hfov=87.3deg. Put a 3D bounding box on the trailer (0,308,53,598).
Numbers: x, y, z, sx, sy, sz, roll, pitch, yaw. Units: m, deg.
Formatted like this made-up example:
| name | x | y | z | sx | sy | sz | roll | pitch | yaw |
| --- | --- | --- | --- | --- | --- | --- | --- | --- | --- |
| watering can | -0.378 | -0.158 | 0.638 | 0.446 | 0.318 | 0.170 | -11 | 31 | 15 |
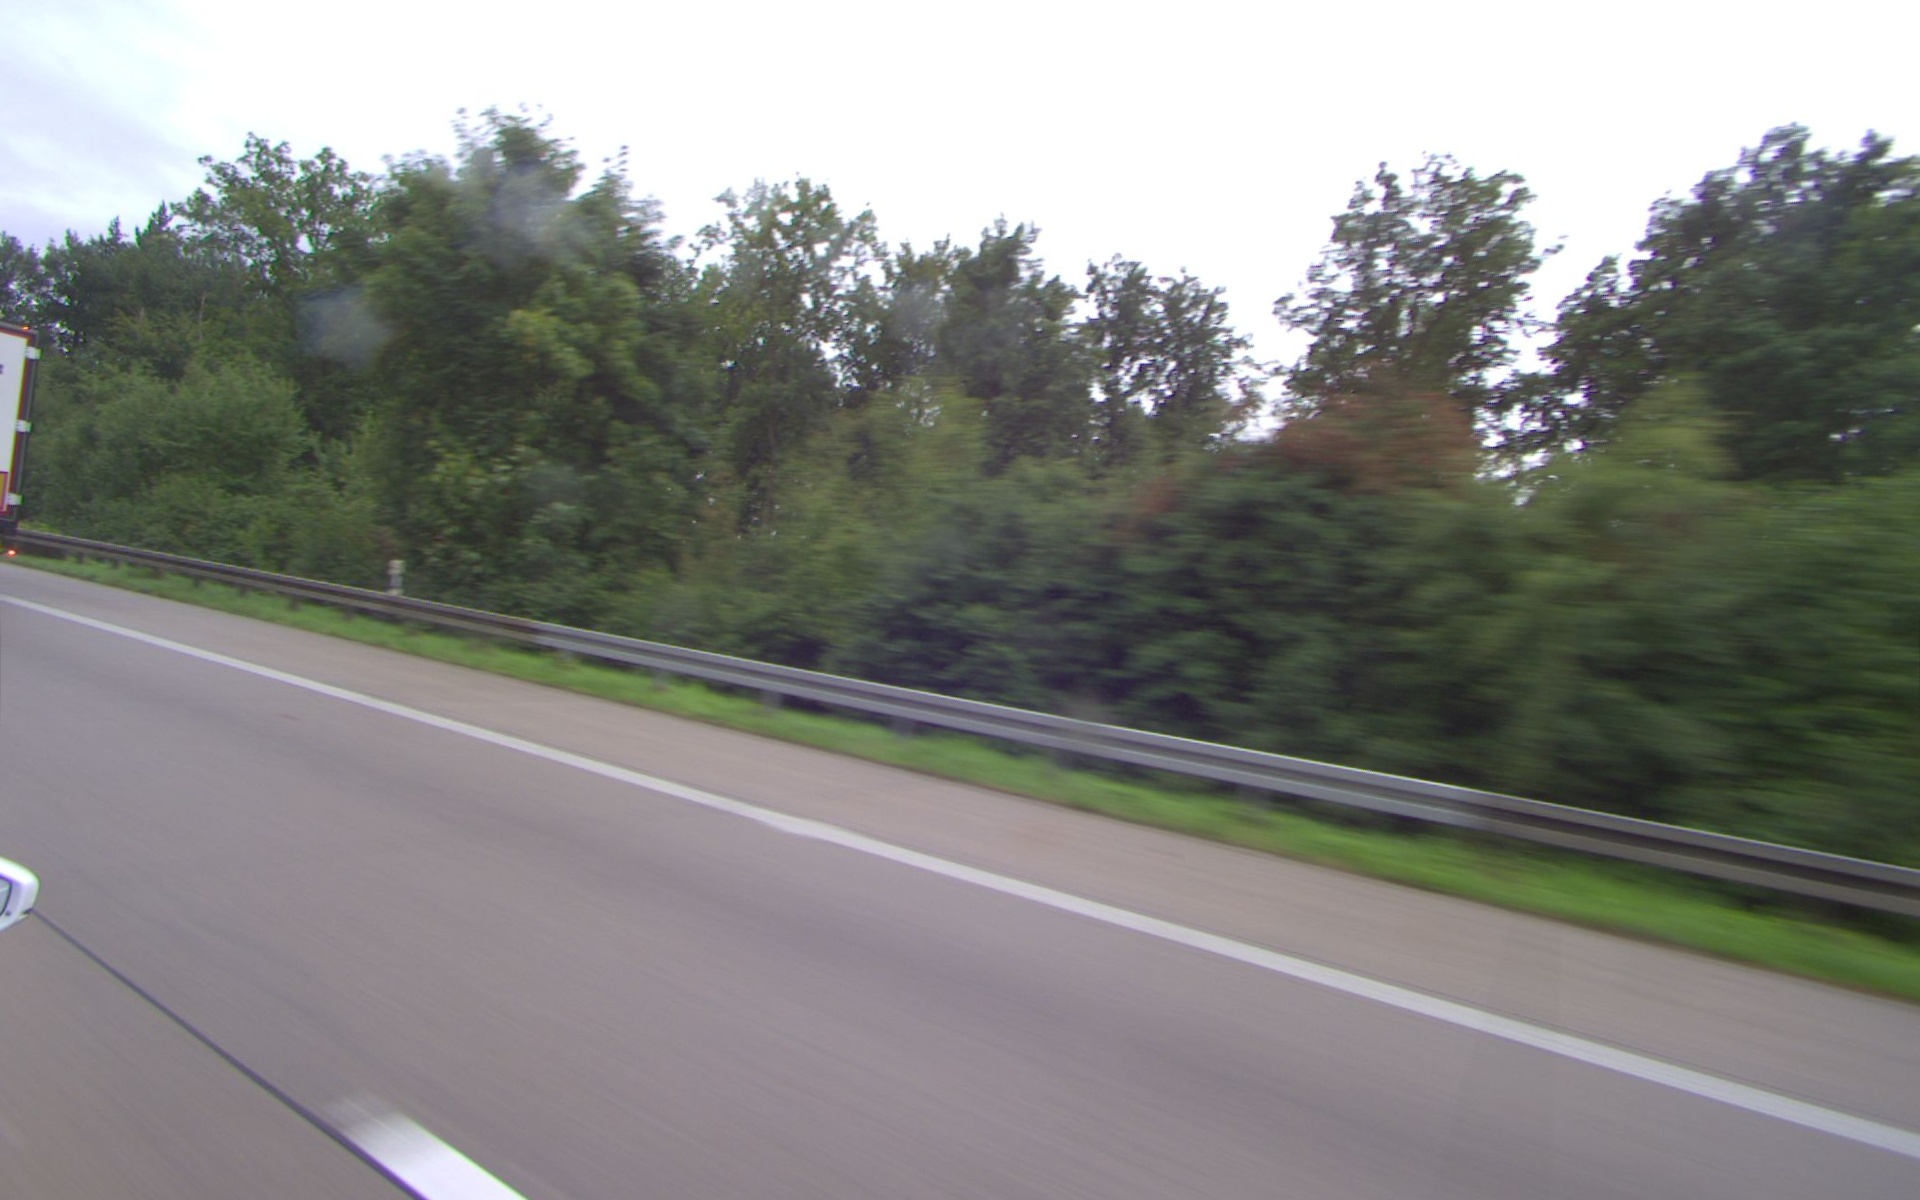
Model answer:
| name | x | y | z | sx | sy | sz | roll | pitch | yaw |
| --- | --- | --- | --- | --- | --- | --- | --- | --- | --- |
| trailer | -20.202 | -2.885 | 17.193 | 13.450 | 4.153 | 2.739 | 7 | 0 | 30 |
